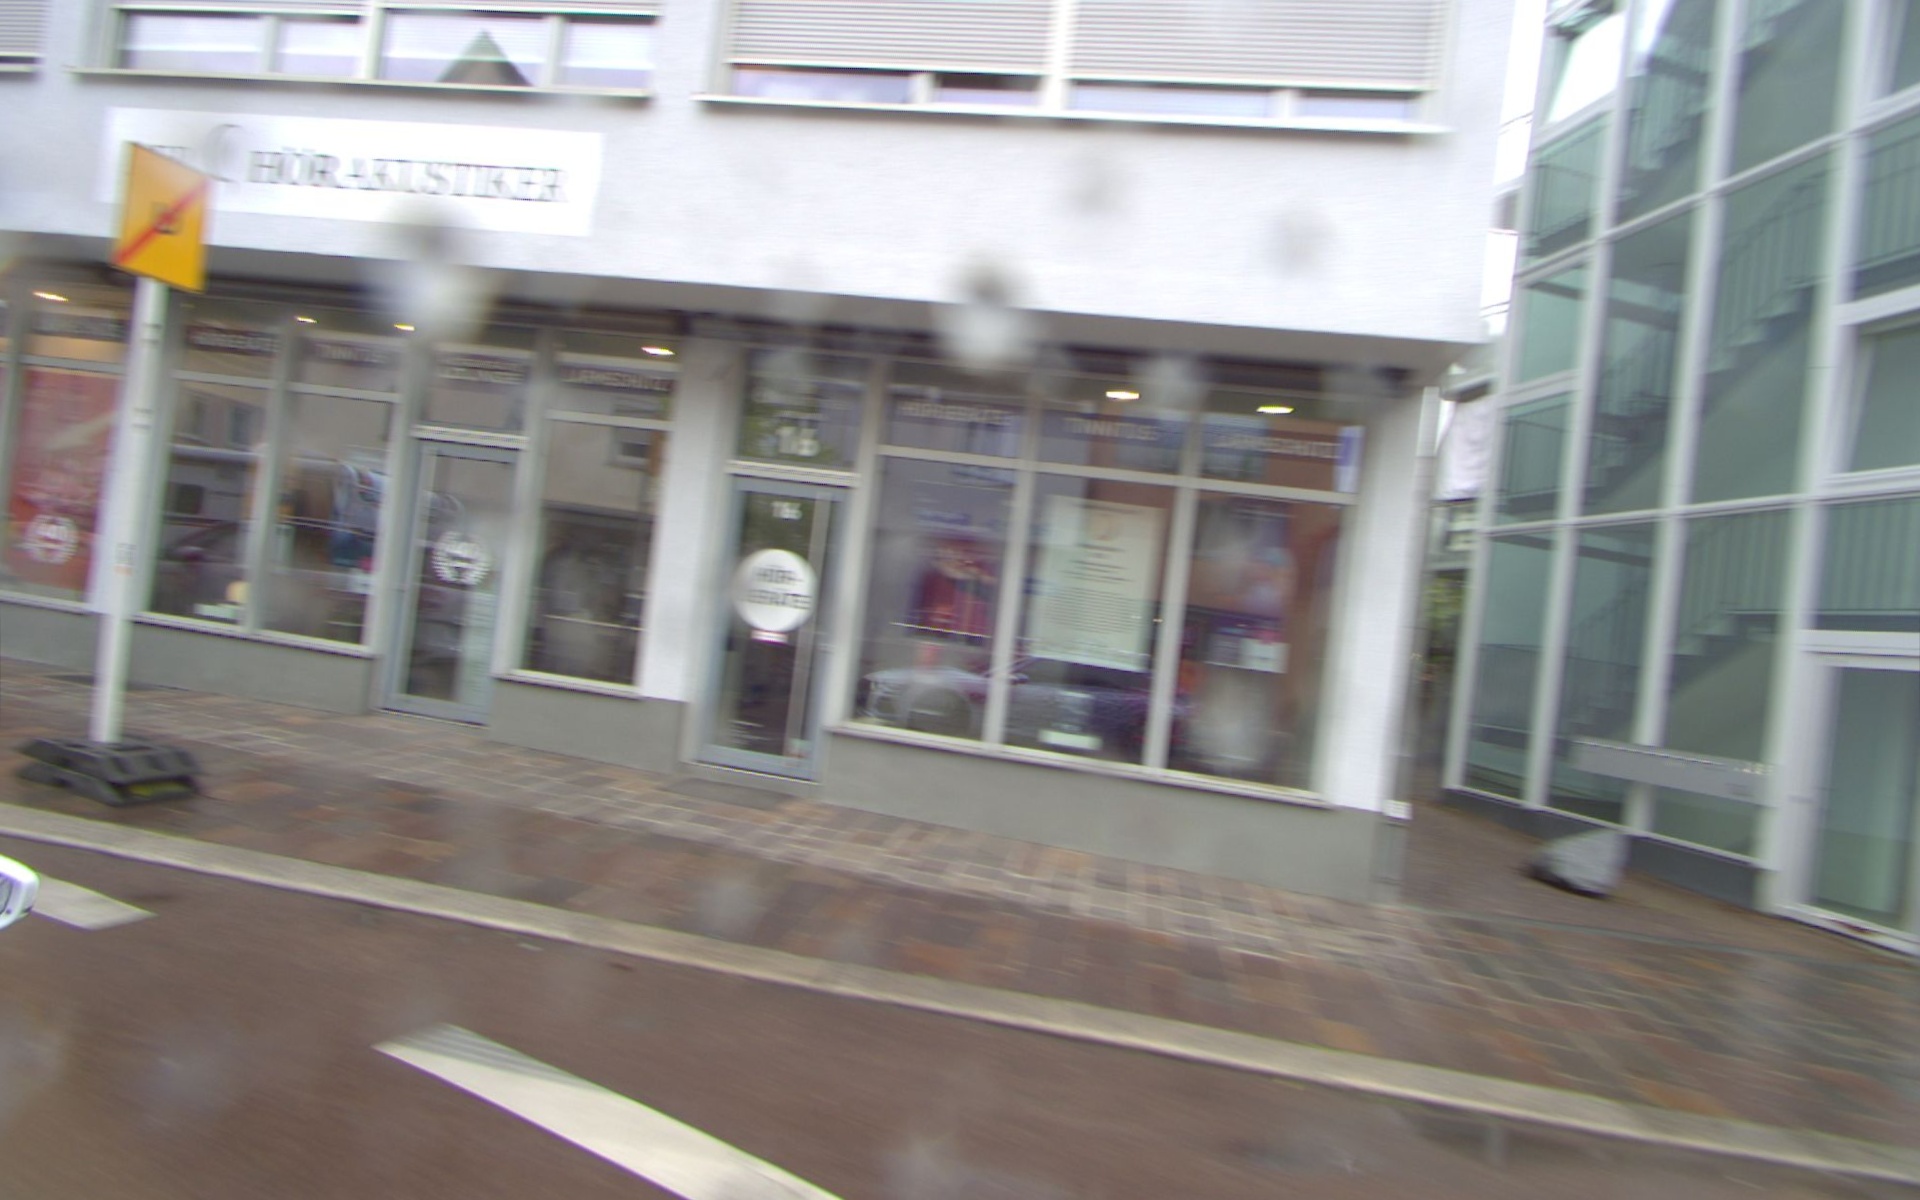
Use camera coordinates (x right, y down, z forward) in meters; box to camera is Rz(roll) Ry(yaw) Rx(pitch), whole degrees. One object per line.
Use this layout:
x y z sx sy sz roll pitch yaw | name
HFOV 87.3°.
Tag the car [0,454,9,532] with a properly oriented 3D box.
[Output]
-8.287 -0.398 5.589 4.385 1.650 1.783 7 -1 5 | car
